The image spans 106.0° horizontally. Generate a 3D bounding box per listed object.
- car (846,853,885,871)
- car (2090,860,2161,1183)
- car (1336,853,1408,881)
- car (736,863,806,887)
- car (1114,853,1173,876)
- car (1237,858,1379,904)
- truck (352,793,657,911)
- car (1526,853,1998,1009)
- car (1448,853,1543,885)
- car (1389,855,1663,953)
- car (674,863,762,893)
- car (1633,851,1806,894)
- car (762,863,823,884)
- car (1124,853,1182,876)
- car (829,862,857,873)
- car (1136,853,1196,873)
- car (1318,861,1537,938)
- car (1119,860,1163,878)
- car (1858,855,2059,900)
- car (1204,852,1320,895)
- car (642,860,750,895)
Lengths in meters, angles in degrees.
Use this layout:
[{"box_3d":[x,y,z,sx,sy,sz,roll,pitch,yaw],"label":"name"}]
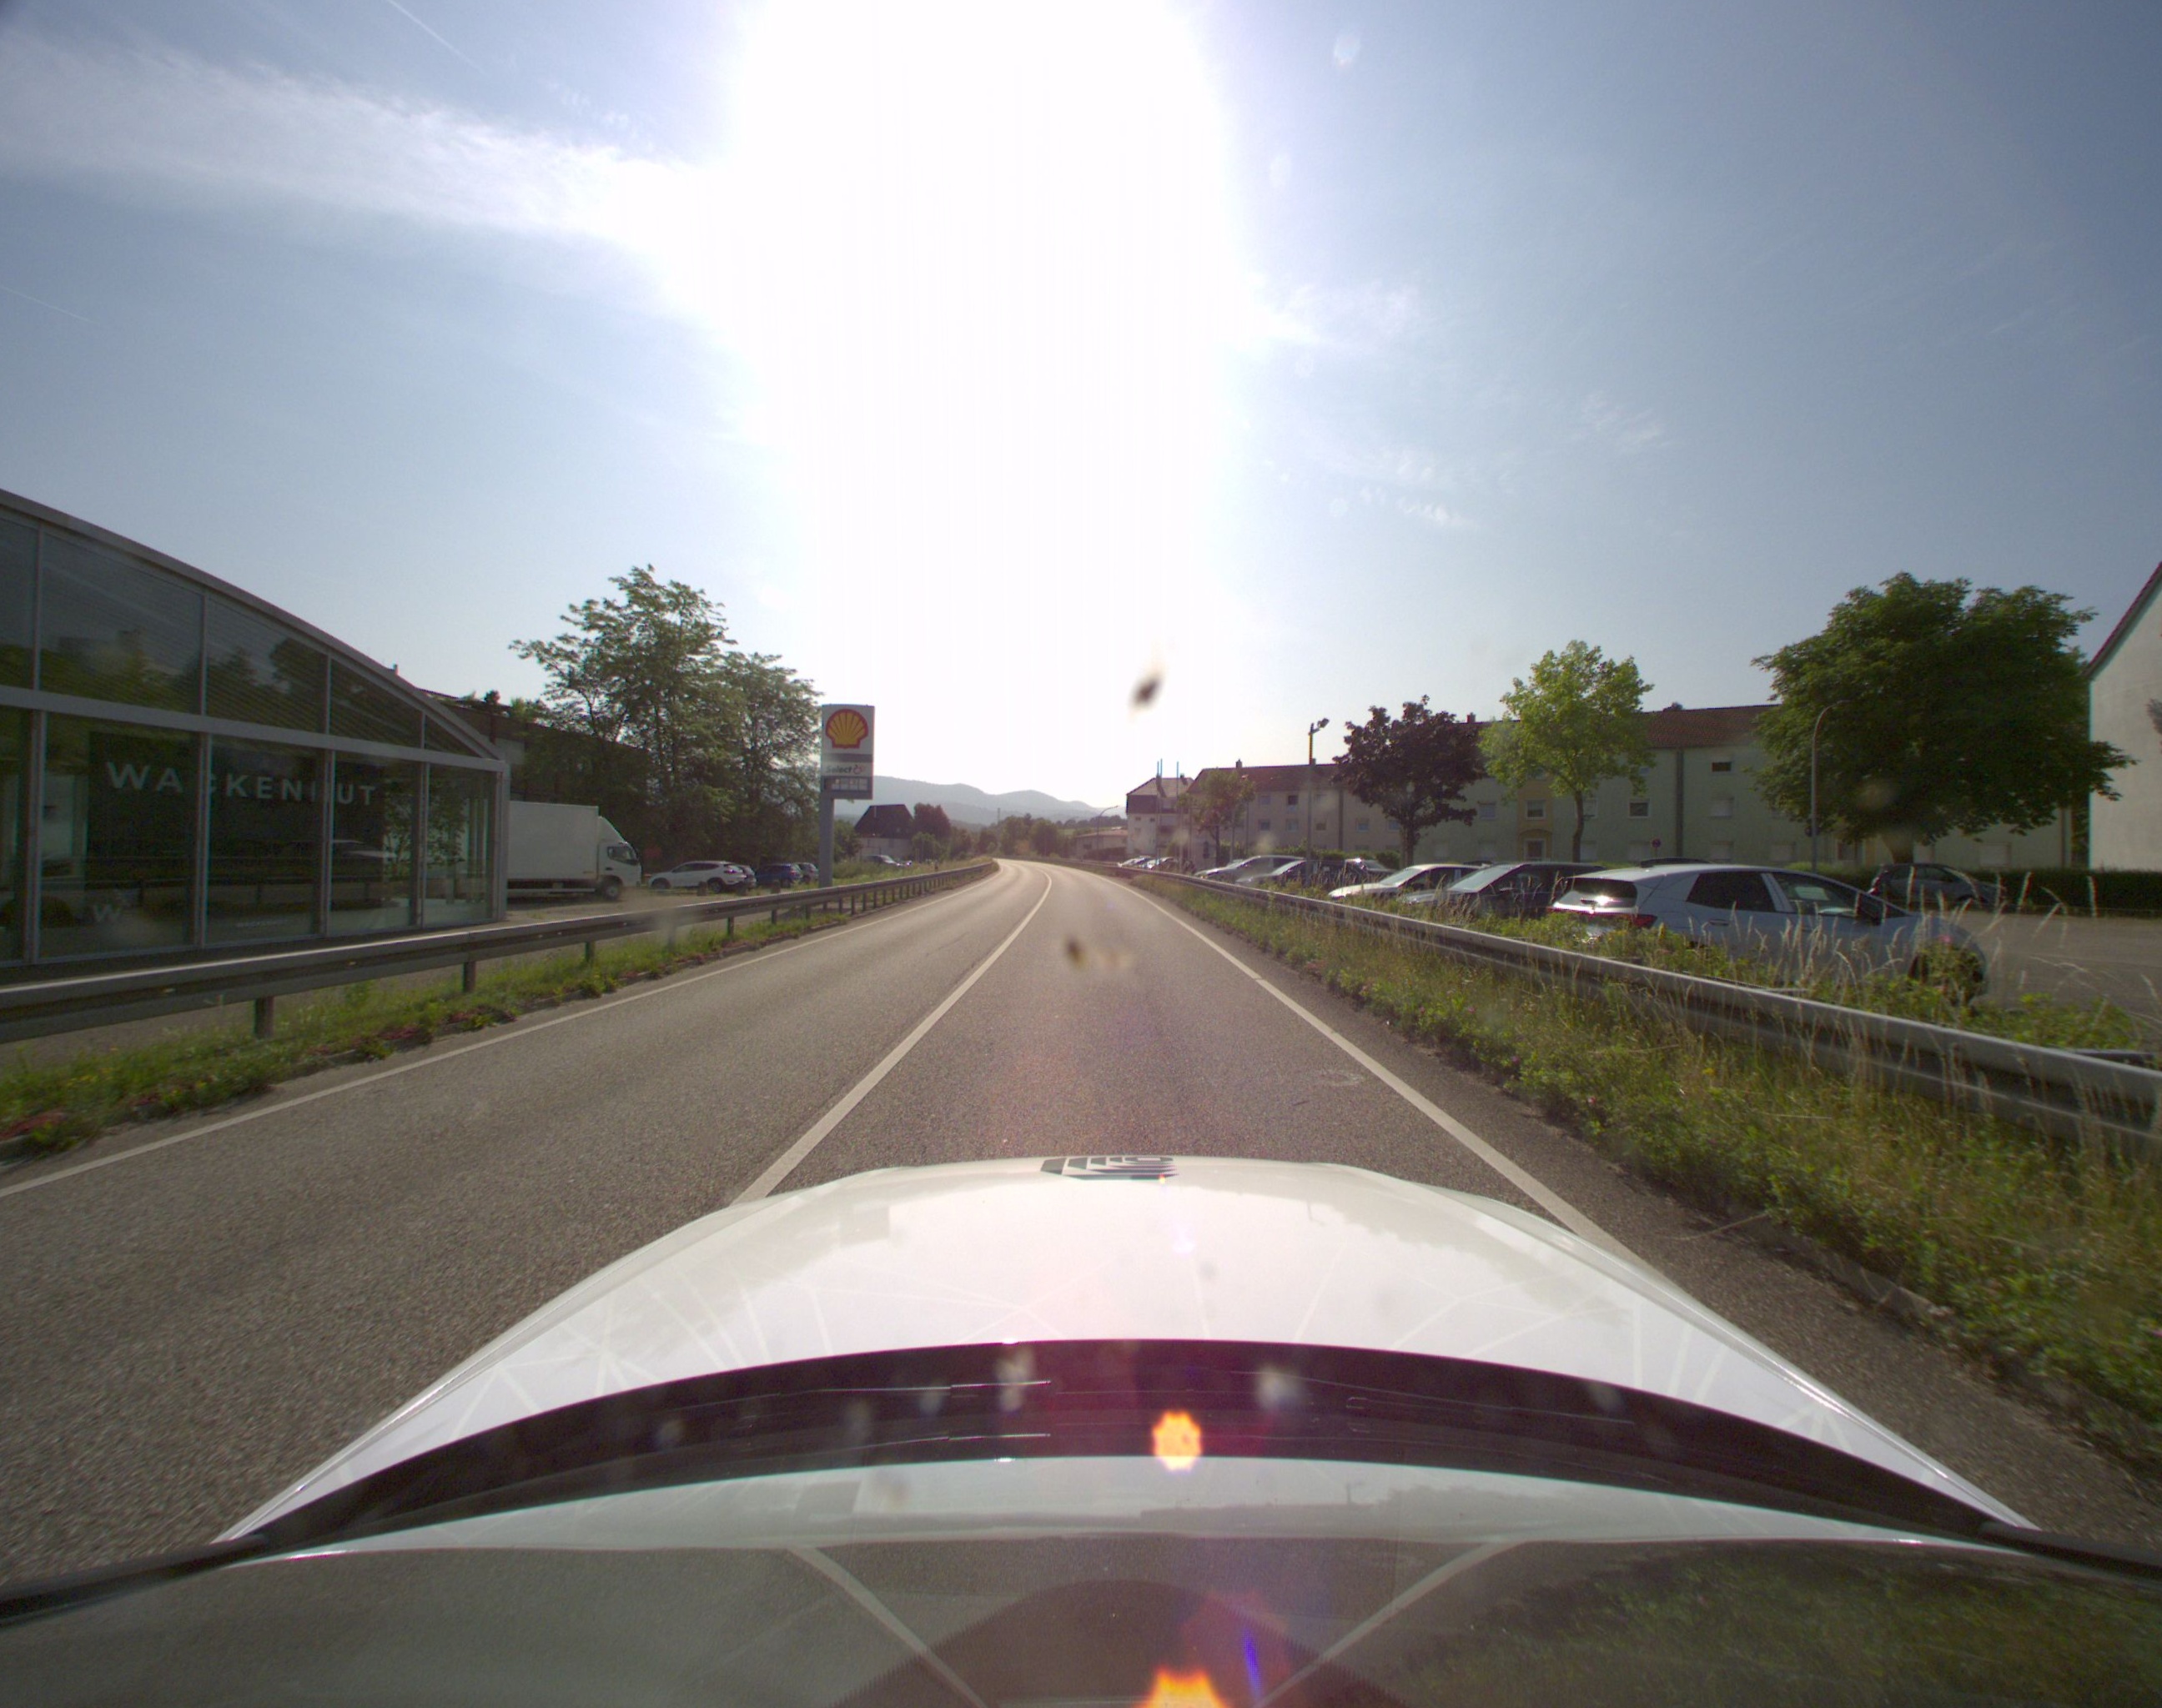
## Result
[{"box_3d":[-24.802,0.945,93.759,4.843,2.013,2.012,0,0,42],"label":"car"},{"box_3d":[7.464,0.829,3.455,3.972,1.640,1.888,-1,-1,1],"label":"car"},{"box_3d":[15.728,0.683,44.158,1.711,1.405,3.635,0,0,-23],"label":"car"},{"box_3d":[-19.661,1.333,51.781,3.739,1.499,1.930,1,-1,-4],"label":"car"},{"box_3d":[4.918,0.836,64.573,4.241,1.572,1.908,4,-2,-16],"label":"car"},{"box_3d":[7.541,0.881,27.321,4.308,1.444,1.627,-1,-1,-2],"label":"car"},{"box_3d":[-19.734,-0.042,28.476,2.771,3.557,8.263,0,0,41],"label":"truck"},{"box_3d":[7.593,0.808,9.386,3.975,1.580,1.778,-1,-1,-1],"label":"car"},{"box_3d":[18.785,0.681,37.060,1.658,1.366,3.634,0,-1,-23],"label":"car"},{"box_3d":[7.676,0.834,14.325,3.833,1.568,1.807,-1,-1,1],"label":"car"},{"box_3d":[-19.059,1.244,42.910,3.741,1.499,1.928,1,-1,-5],"label":"car"},{"box_3d":[22.616,0.641,29.064,1.916,1.405,4.490,0,-1,-23],"label":"car"},{"box_3d":[-20.460,1.380,57.869,3.739,1.460,1.859,-1,-1,-4],"label":"car"},{"box_3d":[5.503,0.809,62.127,3.991,1.450,1.757,3,-2,-13],"label":"car"},{"box_3d":[-40.440,2.225,138.341,4.139,1.634,1.863,3,-2,4],"label":"car"},{"box_3d":[6.233,0.657,59.866,4.070,1.452,1.717,0,-1,-19],"label":"car"},{"box_3d":[7.284,0.930,17.391,3.972,1.521,1.698,-1,-1,1],"label":"car"},{"box_3d":[5.038,1.248,68.477,3.269,1.376,1.541,2,-2,-15],"label":"car"},{"box_3d":[25.223,0.650,23.574,1.596,1.186,3.634,0,-1,-23],"label":"car"},{"box_3d":[7.293,0.770,33.138,4.303,1.640,2.141,-1,-1,1],"label":"car"},{"box_3d":[-18.963,1.139,40.285,4.344,1.655,1.928,1,-1,-6],"label":"car"}]
